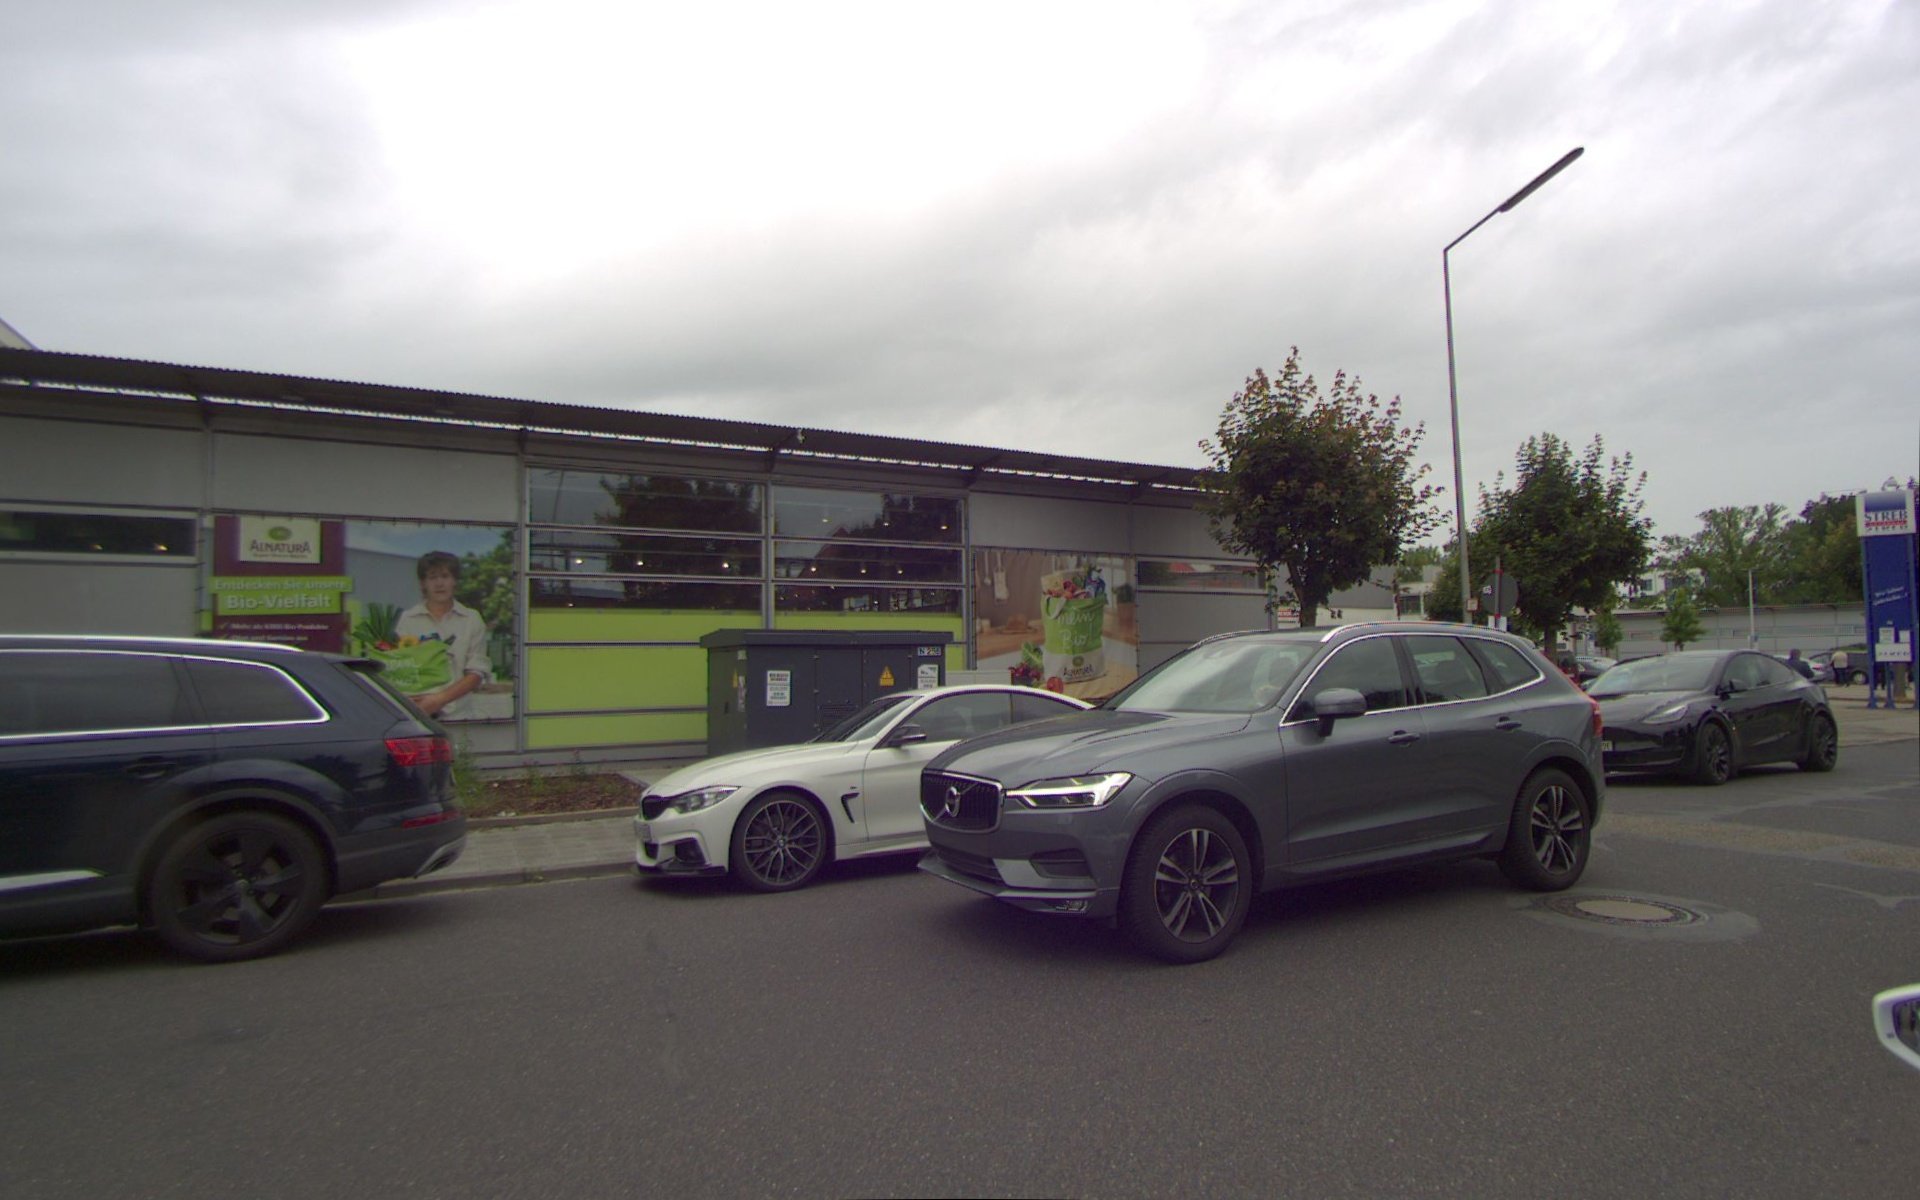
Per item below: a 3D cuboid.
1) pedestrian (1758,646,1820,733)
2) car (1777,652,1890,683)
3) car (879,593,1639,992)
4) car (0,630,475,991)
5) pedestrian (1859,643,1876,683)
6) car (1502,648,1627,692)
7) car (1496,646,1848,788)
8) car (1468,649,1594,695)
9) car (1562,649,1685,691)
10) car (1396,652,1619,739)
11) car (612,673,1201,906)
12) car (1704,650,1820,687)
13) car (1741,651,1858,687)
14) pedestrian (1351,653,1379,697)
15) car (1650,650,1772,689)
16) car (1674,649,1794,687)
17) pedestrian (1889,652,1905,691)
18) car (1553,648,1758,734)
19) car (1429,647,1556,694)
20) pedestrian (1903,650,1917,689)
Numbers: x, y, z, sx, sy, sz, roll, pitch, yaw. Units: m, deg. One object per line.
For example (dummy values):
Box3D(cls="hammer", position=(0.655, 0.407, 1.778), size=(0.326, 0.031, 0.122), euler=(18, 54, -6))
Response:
Box3D(cls="pedestrian", position=(17.116, 1.827, 20.739), size=(0.689, 1.737, 0.771), euler=(1, -3, -32))
Box3D(cls="car", position=(44.846, 3.473, 51.648), size=(1.763, 1.511, 3.974), euler=(1, -4, -26))
Box3D(cls="car", position=(1.913, 0.946, 6.249), size=(4.439, 1.705, 1.926), euler=(1, -5, -28))
Box3D(cls="car", position=(-5.277, 1.109, 5.522), size=(4.668, 1.712, 1.860), euler=(1, -7, -27))
Box3D(cls="pedestrian", position=(38.179, 2.665, 42.245), size=(0.450, 1.663, 0.372), euler=(-4, -4, 45))
Box3D(cls="car", position=(24.714, 2.877, 41.211), size=(1.852, 1.690, 3.974), euler=(1, -4, -27))
Box3D(cls="car", position=(9.210, 1.463, 12.954), size=(4.350, 1.545, 1.940), euler=(2, -8, -30))
Box3D(cls="car", position=(22.642, 2.855, 39.960), size=(1.852, 1.690, 3.974), euler=(1, -4, -27))
Box3D(cls="car", position=(28.418, 3.002, 43.145), size=(1.852, 1.690, 3.974), euler=(1, -4, -27))
Box3D(cls="car", position=(11.707, 1.982, 21.739), size=(1.903, 1.641, 3.860), euler=(1, -3, -27))
Box3D(cls="car", position=(-0.358, 1.388, 8.150), size=(4.462, 1.384, 1.693), euler=(1, -9, -29))
Box3D(cls="car", position=(39.074, 3.353, 49.013), size=(1.852, 1.690, 3.974), euler=(1, -4, -27))
Box3D(cls="car", position=(41.287, 3.397, 49.473), size=(1.852, 1.690, 3.974), euler=(1, -4, -27))
Box3D(cls="pedestrian", position=(16.296, 2.993, 40.406), size=(0.689, 1.738, 0.795), euler=(1, -2, -32))
Box3D(cls="car", position=(33.937, 3.153, 45.476), size=(1.852, 1.690, 3.974), euler=(1, -4, -27))
Box3D(cls="car", position=(36.019, 3.176, 46.854), size=(1.852, 1.690, 3.974), euler=(1, -4, -27))
Box3D(cls="pedestrian", position=(38.701, 2.934, 41.490), size=(0.499, 1.590, 0.356), euler=(2, -4, -39))
Box3D(cls="car", position=(17.742, 2.291, 25.798), size=(1.743, 2.039, 3.906), euler=(2, -4, -34))
Box3D(cls="car", position=(20.518, 2.722, 38.884), size=(1.852, 1.690, 3.974), euler=(1, -4, -27))
Box3D(cls="pedestrian", position=(38.961, 2.856, 41.204), size=(0.500, 1.590, 0.327), euler=(2, -3, -41))
